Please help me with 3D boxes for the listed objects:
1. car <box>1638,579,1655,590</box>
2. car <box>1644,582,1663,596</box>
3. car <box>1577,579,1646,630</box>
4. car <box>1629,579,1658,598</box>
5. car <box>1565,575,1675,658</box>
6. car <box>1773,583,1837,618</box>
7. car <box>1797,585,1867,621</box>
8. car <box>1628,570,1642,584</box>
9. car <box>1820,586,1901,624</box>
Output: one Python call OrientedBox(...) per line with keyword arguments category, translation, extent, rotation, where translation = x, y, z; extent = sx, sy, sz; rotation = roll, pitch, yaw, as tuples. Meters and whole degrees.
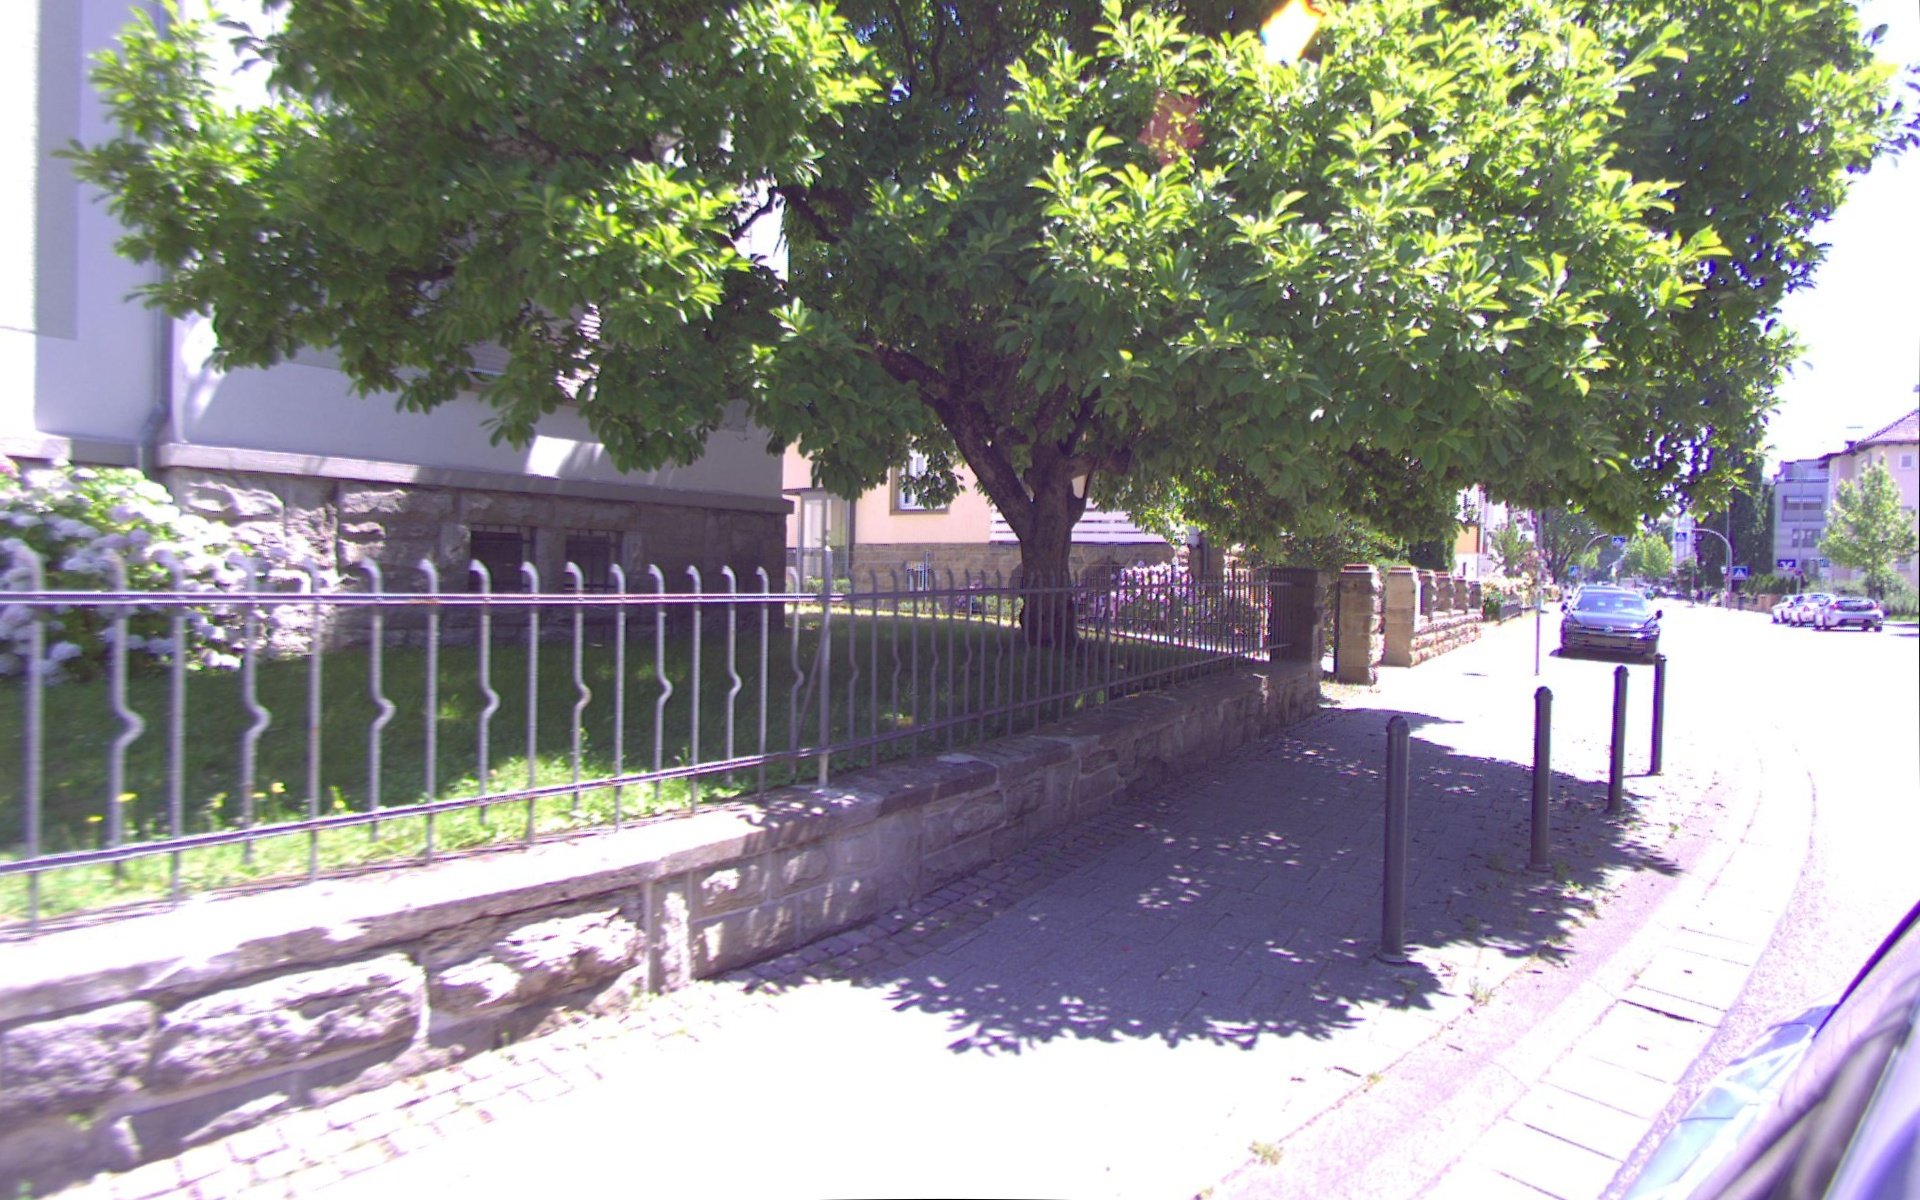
OrientedBox(category="car", translation=(98.576, -2.246, 145.360), extent=(1.986, 1.652, 3.953), rotation=(0, 1, 33))
OrientedBox(category="car", translation=(85.452, -1.387, 124.682), extent=(1.818, 1.649, 3.953), rotation=(0, 1, 33))
OrientedBox(category="car", translation=(21.935, 0.109, 34.193), extent=(1.761, 1.560, 3.956), rotation=(2, 2, 31))
OrientedBox(category="car", translation=(61.528, -1.067, 91.168), extent=(1.832, 1.680, 3.959), rotation=(0, 1, 29))
OrientedBox(category="car", translation=(14.070, 0.271, 21.756), extent=(1.761, 1.560, 3.956), rotation=(3, 2, 31))
OrientedBox(category="car", translation=(41.399, -0.013, 49.653), extent=(1.761, 1.560, 3.956), rotation=(2, 2, 31))
OrientedBox(category="car", translation=(39.250, 0.096, 45.621), extent=(1.732, 1.521, 3.693), rotation=(1, 1, 31))
OrientedBox(category="car", translation=(118.308, -3.998, 177.445), extent=(1.999, 2.408, 3.951), rotation=(0, 1, 34))
OrientedBox(category="car", translation=(36.597, 0.166, 41.245), extent=(1.723, 1.467, 3.986), rotation=(0, 1, 31))
